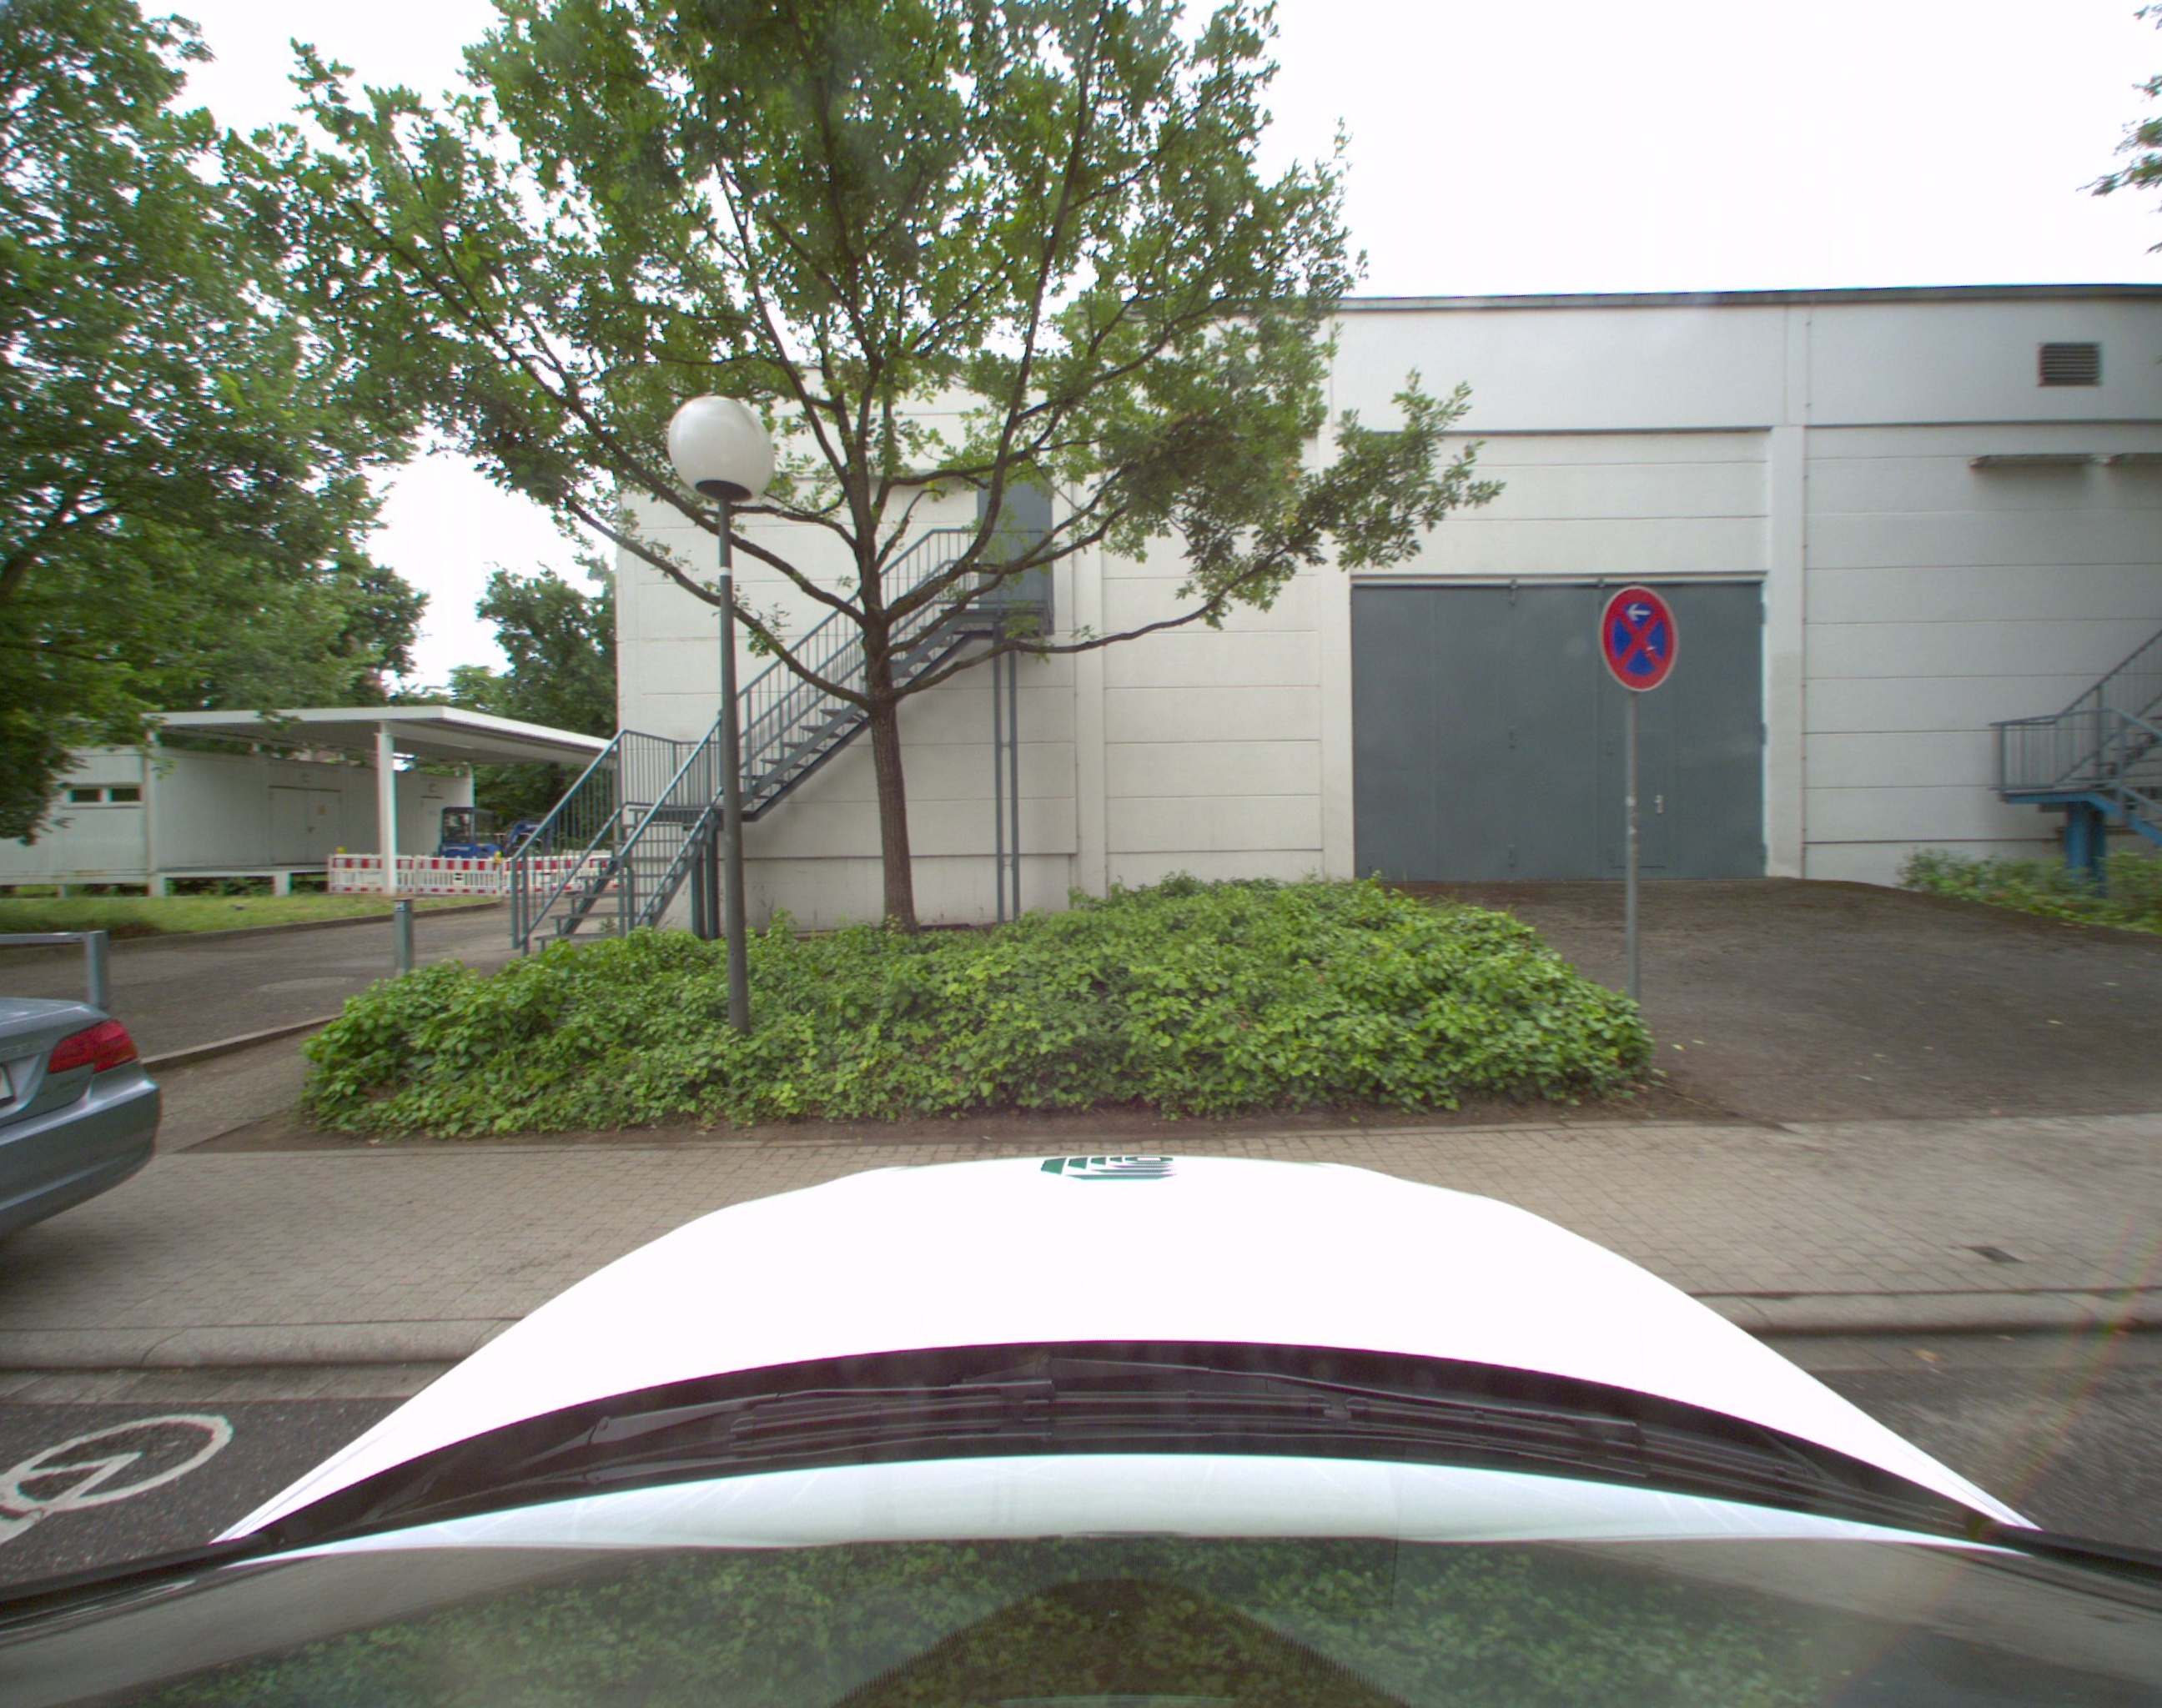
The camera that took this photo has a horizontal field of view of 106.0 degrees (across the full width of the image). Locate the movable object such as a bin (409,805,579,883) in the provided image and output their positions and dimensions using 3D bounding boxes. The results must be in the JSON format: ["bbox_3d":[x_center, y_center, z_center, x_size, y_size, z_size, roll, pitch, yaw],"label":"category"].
[{"bbox_3d":[-17.987,-0.272,25.287,1.988,2.171,4.667,-1,0,-2],"label":"movable object such as a bin"}]

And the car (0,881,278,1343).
[{"bbox_3d":[-5.455,0.862,2.427,4.169,1.388,1.823,-1,1,-2],"label":"car"}]
